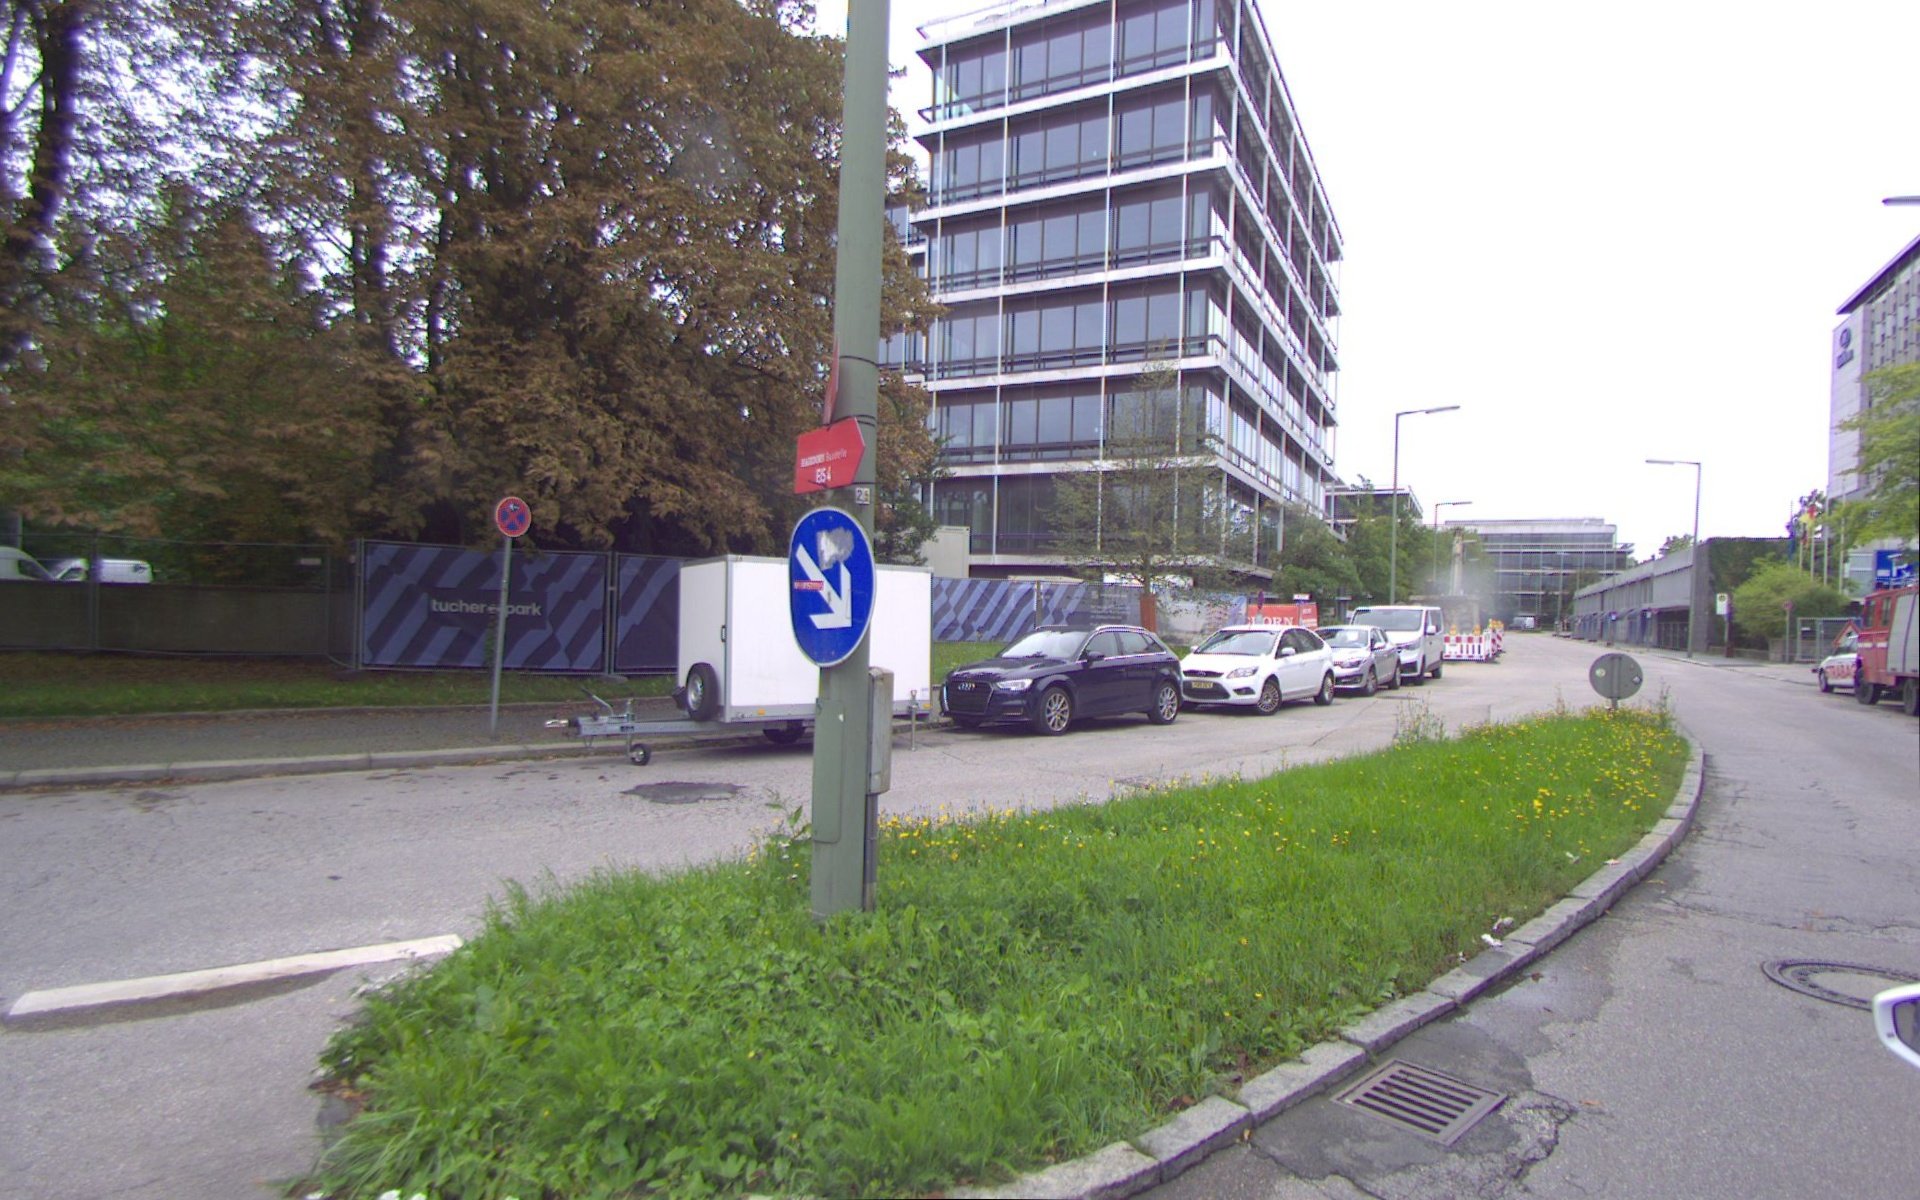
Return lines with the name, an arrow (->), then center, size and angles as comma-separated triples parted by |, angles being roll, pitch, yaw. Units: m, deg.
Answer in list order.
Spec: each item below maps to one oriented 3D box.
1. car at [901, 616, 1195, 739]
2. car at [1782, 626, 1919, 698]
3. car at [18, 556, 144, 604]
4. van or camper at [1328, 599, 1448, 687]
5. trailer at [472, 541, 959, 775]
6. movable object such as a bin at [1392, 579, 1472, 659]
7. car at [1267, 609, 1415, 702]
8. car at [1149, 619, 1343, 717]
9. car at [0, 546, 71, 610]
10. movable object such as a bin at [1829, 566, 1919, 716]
car -> 1.384, 1.005, 14.295 | 1.853, 1.456, 4.301 | 1, -1, 45
car -> 22.554, 1.495, 25.406 | 1.748, 1.570, 4.253 | 2, 0, 26
car -> -51.508, -1.129, 58.995 | 2.038, 2.615, 5.130 | 2, 0, 27
van or camper -> 11.386, 1.037, 26.506 | 1.966, 2.040, 5.361 | 1, 0, 33
trailer -> -2.498, 0.536, 10.862 | 4.785, 2.040, 1.797 | 1, 0, -35
movable object such as a bin -> 24.734, 0.947, 52.362 | 3.192, 3.766, 8.994 | 1, 0, 28
car -> 8.411, 1.110, 21.928 | 1.967, 1.751, 4.435 | 1, 0, 35
car -> 5.233, 1.129, 18.032 | 1.746, 1.506, 4.200 | 1, 0, 41
car -> -40.873, -0.949, 41.781 | 2.038, 2.615, 5.452 | 2, 0, 26
movable object such as a bin -> 18.291, 0.764, 18.900 | 2.075, 2.491, 6.170 | 2, 0, 33
